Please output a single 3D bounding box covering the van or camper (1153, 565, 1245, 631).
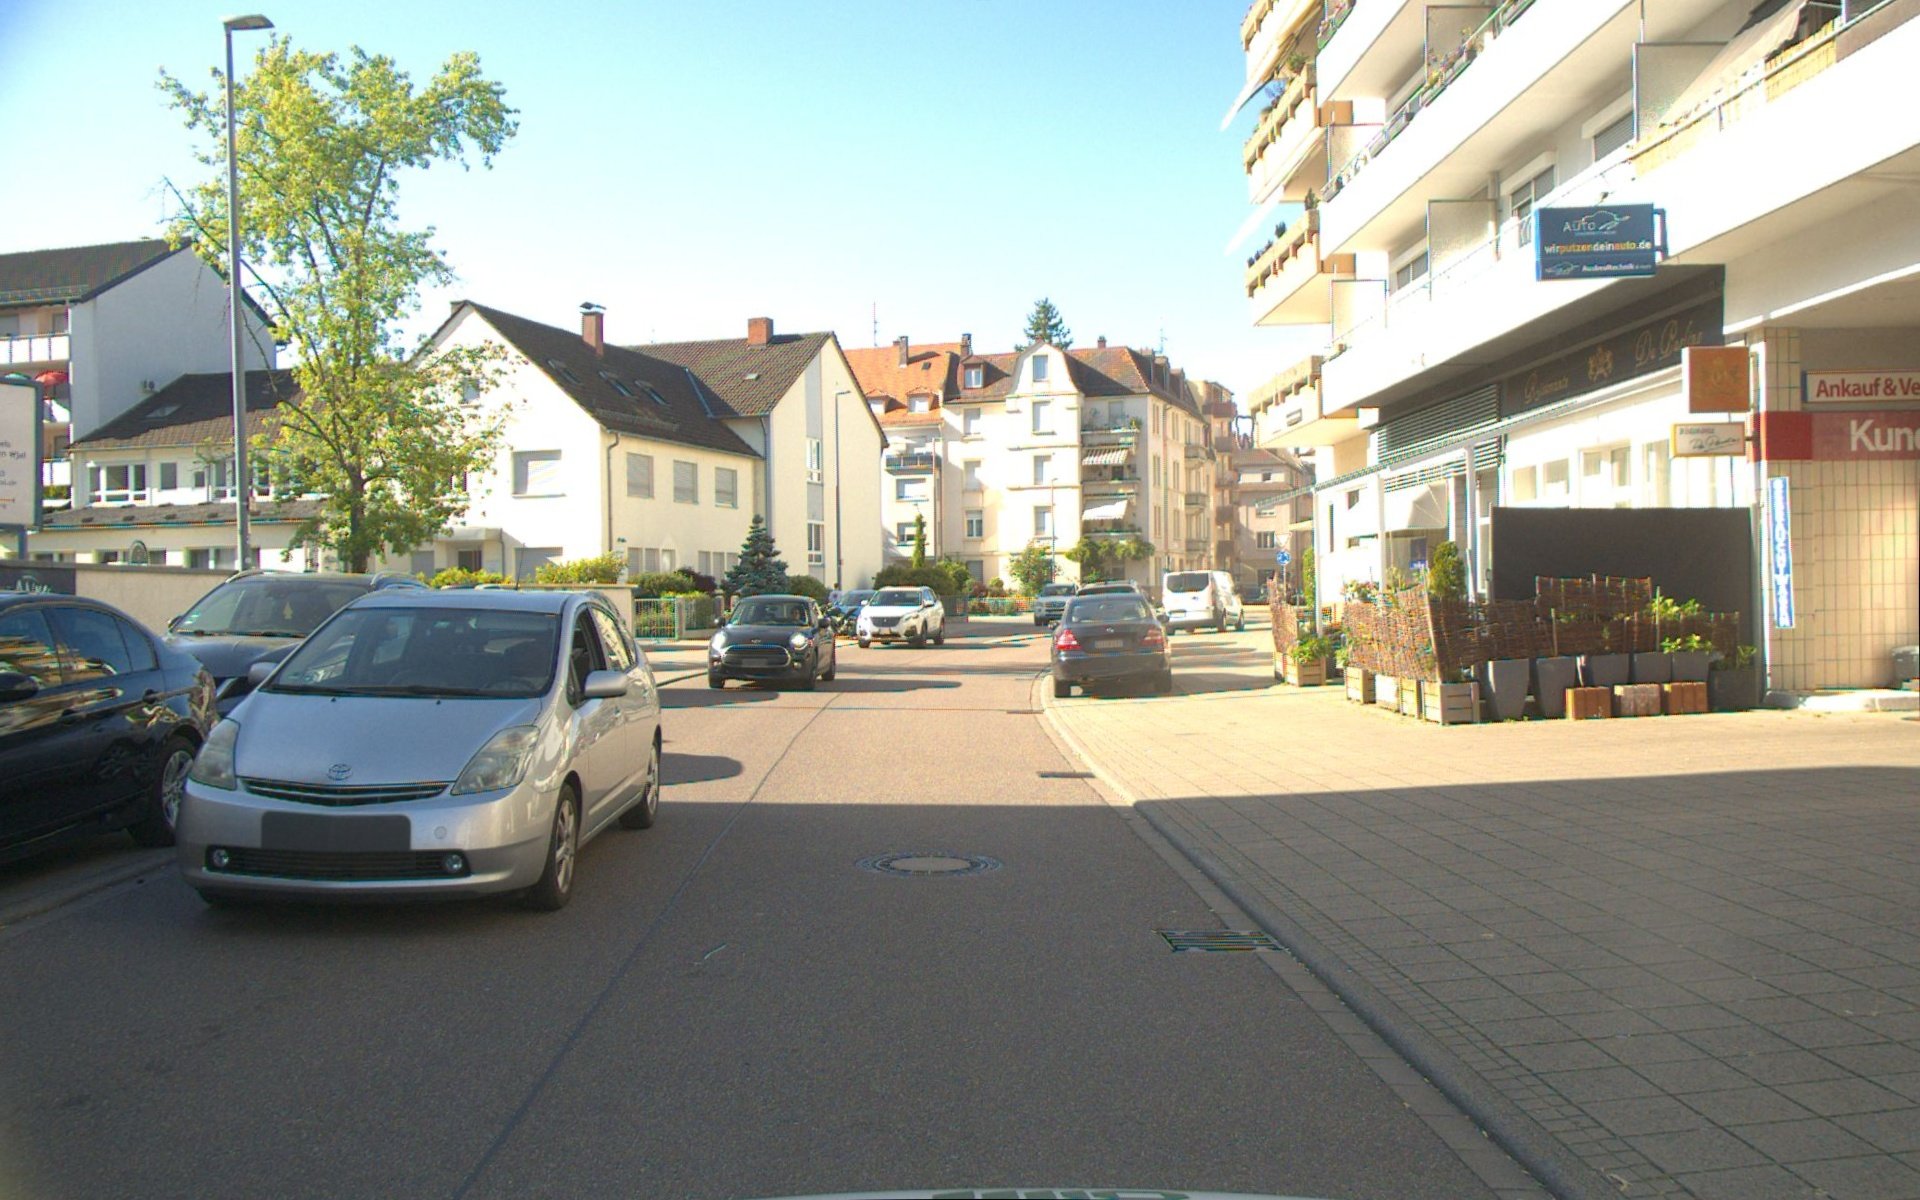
[{"bbox_3d":[7.934,-0.090,54.546,1.979,1.981,4.704,-3,0,20],"label":"van or camper"}]

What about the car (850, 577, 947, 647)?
[{"bbox_3d":[-1.619,0.368,45.308,1.878,1.755,4.339,-1,-2,8],"label":"car"}]

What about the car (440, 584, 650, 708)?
[{"bbox_3d":[-5.754,0.561,23.547,1.954,1.561,4.915,-1,1,-3],"label":"car"}]

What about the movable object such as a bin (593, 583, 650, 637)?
[{"bbox_3d":[-10.026,0.310,49.030,1.255,1.516,1.228,-1,-2,14],"label":"movable object such as a bin"}]

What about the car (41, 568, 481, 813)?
[{"bbox_3d":[-5.291,0.588,13.223,1.685,1.614,4.420,-1,0,-1],"label":"car"}]

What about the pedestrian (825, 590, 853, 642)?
[{"bbox_3d":[-4.119,0.558,56.245,0.668,1.733,0.824,-2,-2,19],"label":"pedestrian"}]

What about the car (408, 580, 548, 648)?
[{"bbox_3d":[-11.869,0.384,40.885,1.763,1.583,3.188,-2,-2,21],"label":"car"}]

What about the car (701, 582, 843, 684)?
[{"bbox_3d":[-2.994,0.580,27.035,1.704,1.539,3.730,1,-2,2],"label":"car"}]

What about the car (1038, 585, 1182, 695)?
[{"bbox_3d":[2.272,0.565,24.949,1.929,1.476,5.006,-1,-1,5],"label":"car"}]

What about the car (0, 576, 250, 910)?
[{"bbox_3d":[-5.143,0.643,7.837,1.691,1.490,4.438,-1,0,-1],"label":"car"}]

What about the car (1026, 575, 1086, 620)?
[{"bbox_3d":[4.143,-0.115,70.869,1.947,1.816,4.523,-1,0,11],"label":"car"}]

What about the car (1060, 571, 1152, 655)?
[{"bbox_3d":[3.271,0.345,36.375,1.778,1.682,4.563,-1,-2,8],"label":"car"}]

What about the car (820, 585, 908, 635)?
[{"bbox_3d":[-3.016,0.289,52.842,1.759,1.499,4.334,0,1,12],"label":"car"}]

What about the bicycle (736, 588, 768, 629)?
[{"bbox_3d":[-6.658,0.285,53.005,0.446,1.272,1.929,-1,-2,10],"label":"bicycle"}]

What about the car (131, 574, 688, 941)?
[{"bbox_3d":[-2.631,0.643,8.954,1.691,1.511,4.105,-1,0,-1],"label":"car"}]

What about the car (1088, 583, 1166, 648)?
[{"bbox_3d":[4.194,0.354,41.064,1.681,1.433,4.318,-3,0,8],"label":"car"}]

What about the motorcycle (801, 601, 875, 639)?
[{"bbox_3d":[-3.685,0.587,49.904,2.016,1.037,0.947,3,2,24],"label":"motorcycle"}]
